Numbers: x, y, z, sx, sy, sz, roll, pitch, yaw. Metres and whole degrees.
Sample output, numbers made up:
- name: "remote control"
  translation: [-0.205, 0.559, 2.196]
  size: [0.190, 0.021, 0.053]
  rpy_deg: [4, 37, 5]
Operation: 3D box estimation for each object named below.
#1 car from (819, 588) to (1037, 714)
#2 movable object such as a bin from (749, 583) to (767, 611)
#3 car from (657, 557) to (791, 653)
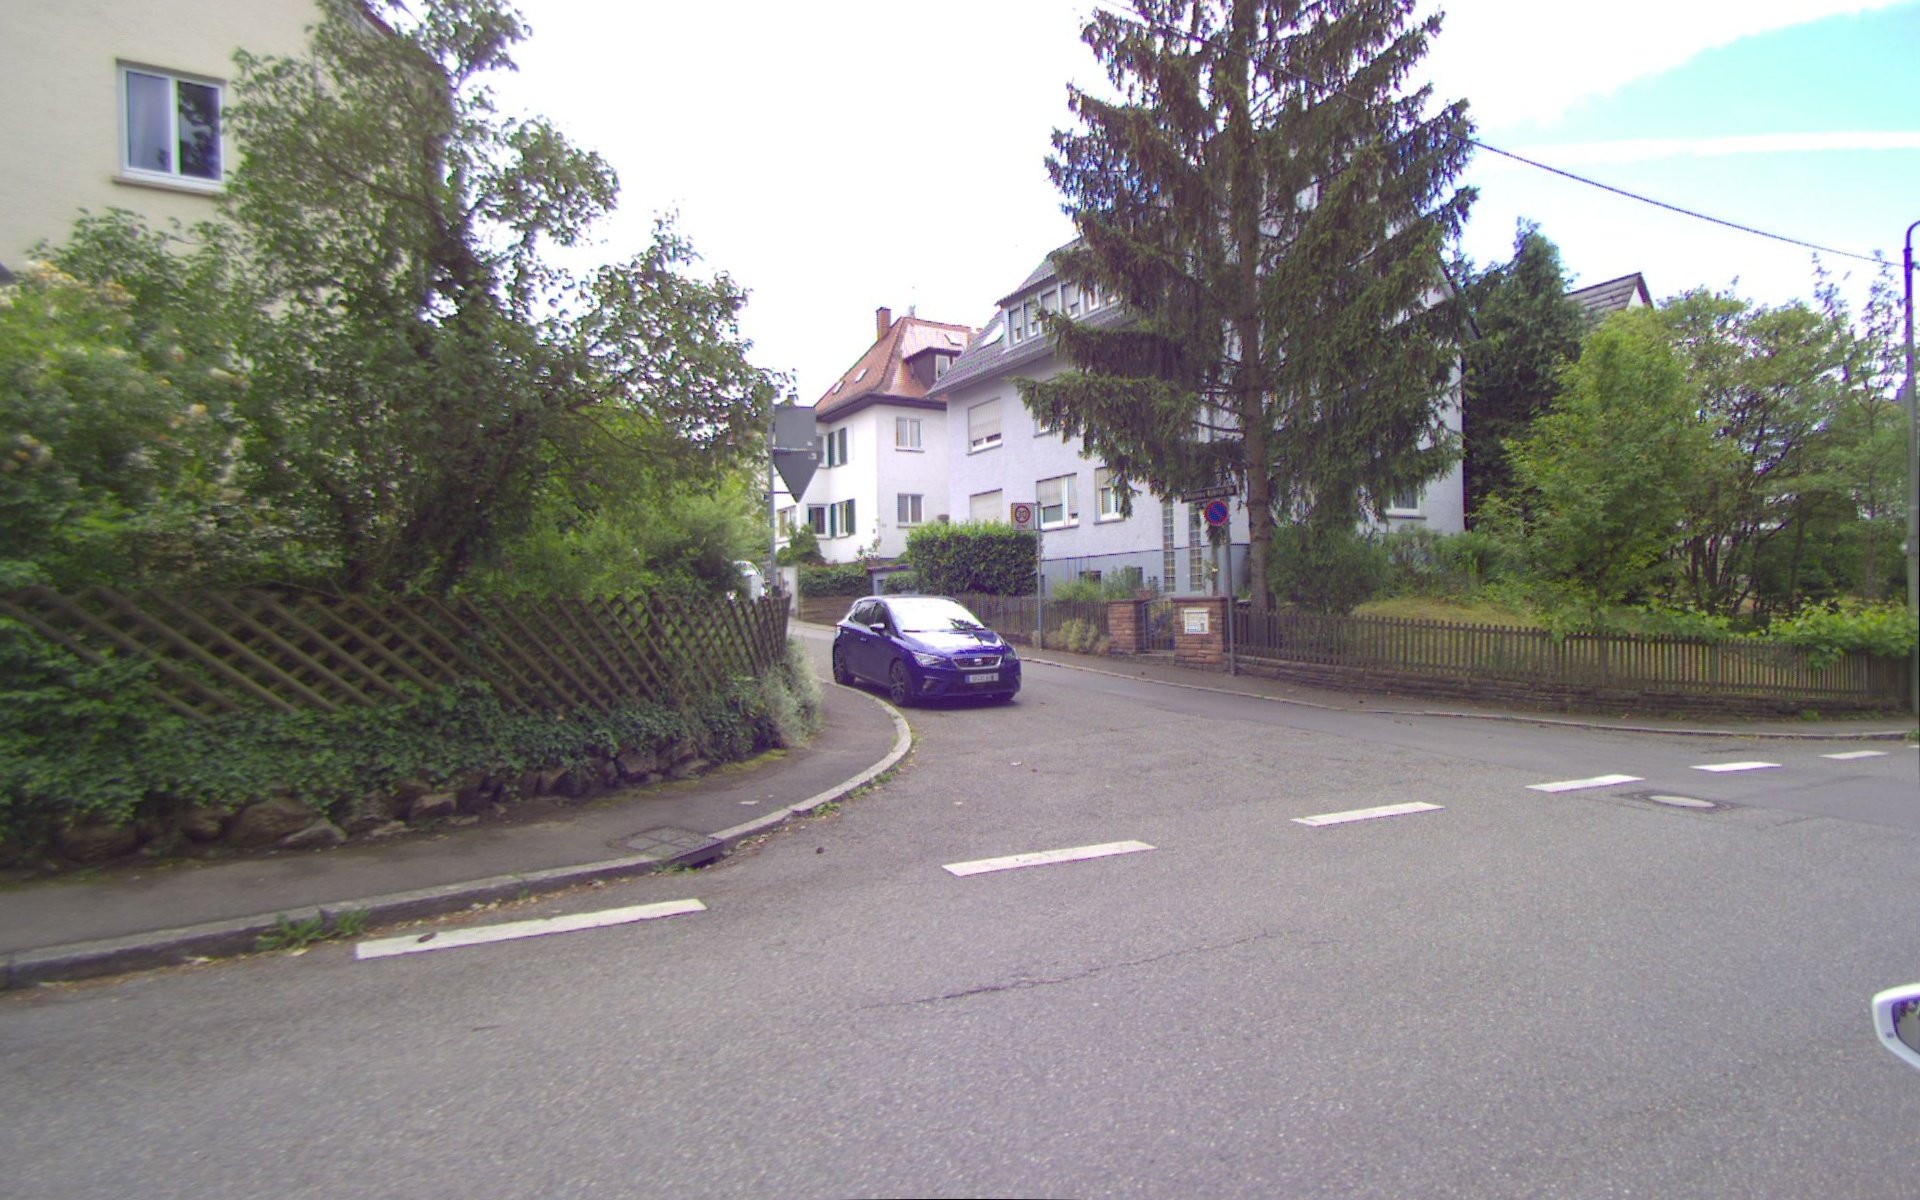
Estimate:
- name: "car"
  translation: [-0.624, 0.624, 14.788]
  size: [1.699, 1.503, 3.972]
  rpy_deg: [0, 2, -26]
- name: "movable object such as a bin"
  translation: [-7.438, -0.115, 36.989]
  size: [0.510, 1.001, 0.414]
  rpy_deg: [1, 1, -30]
- name: "car"
  translation: [-5.892, 0.021, 24.608]
  size: [1.906, 2.025, 4.896]
  rpy_deg: [-4, 3, -29]
